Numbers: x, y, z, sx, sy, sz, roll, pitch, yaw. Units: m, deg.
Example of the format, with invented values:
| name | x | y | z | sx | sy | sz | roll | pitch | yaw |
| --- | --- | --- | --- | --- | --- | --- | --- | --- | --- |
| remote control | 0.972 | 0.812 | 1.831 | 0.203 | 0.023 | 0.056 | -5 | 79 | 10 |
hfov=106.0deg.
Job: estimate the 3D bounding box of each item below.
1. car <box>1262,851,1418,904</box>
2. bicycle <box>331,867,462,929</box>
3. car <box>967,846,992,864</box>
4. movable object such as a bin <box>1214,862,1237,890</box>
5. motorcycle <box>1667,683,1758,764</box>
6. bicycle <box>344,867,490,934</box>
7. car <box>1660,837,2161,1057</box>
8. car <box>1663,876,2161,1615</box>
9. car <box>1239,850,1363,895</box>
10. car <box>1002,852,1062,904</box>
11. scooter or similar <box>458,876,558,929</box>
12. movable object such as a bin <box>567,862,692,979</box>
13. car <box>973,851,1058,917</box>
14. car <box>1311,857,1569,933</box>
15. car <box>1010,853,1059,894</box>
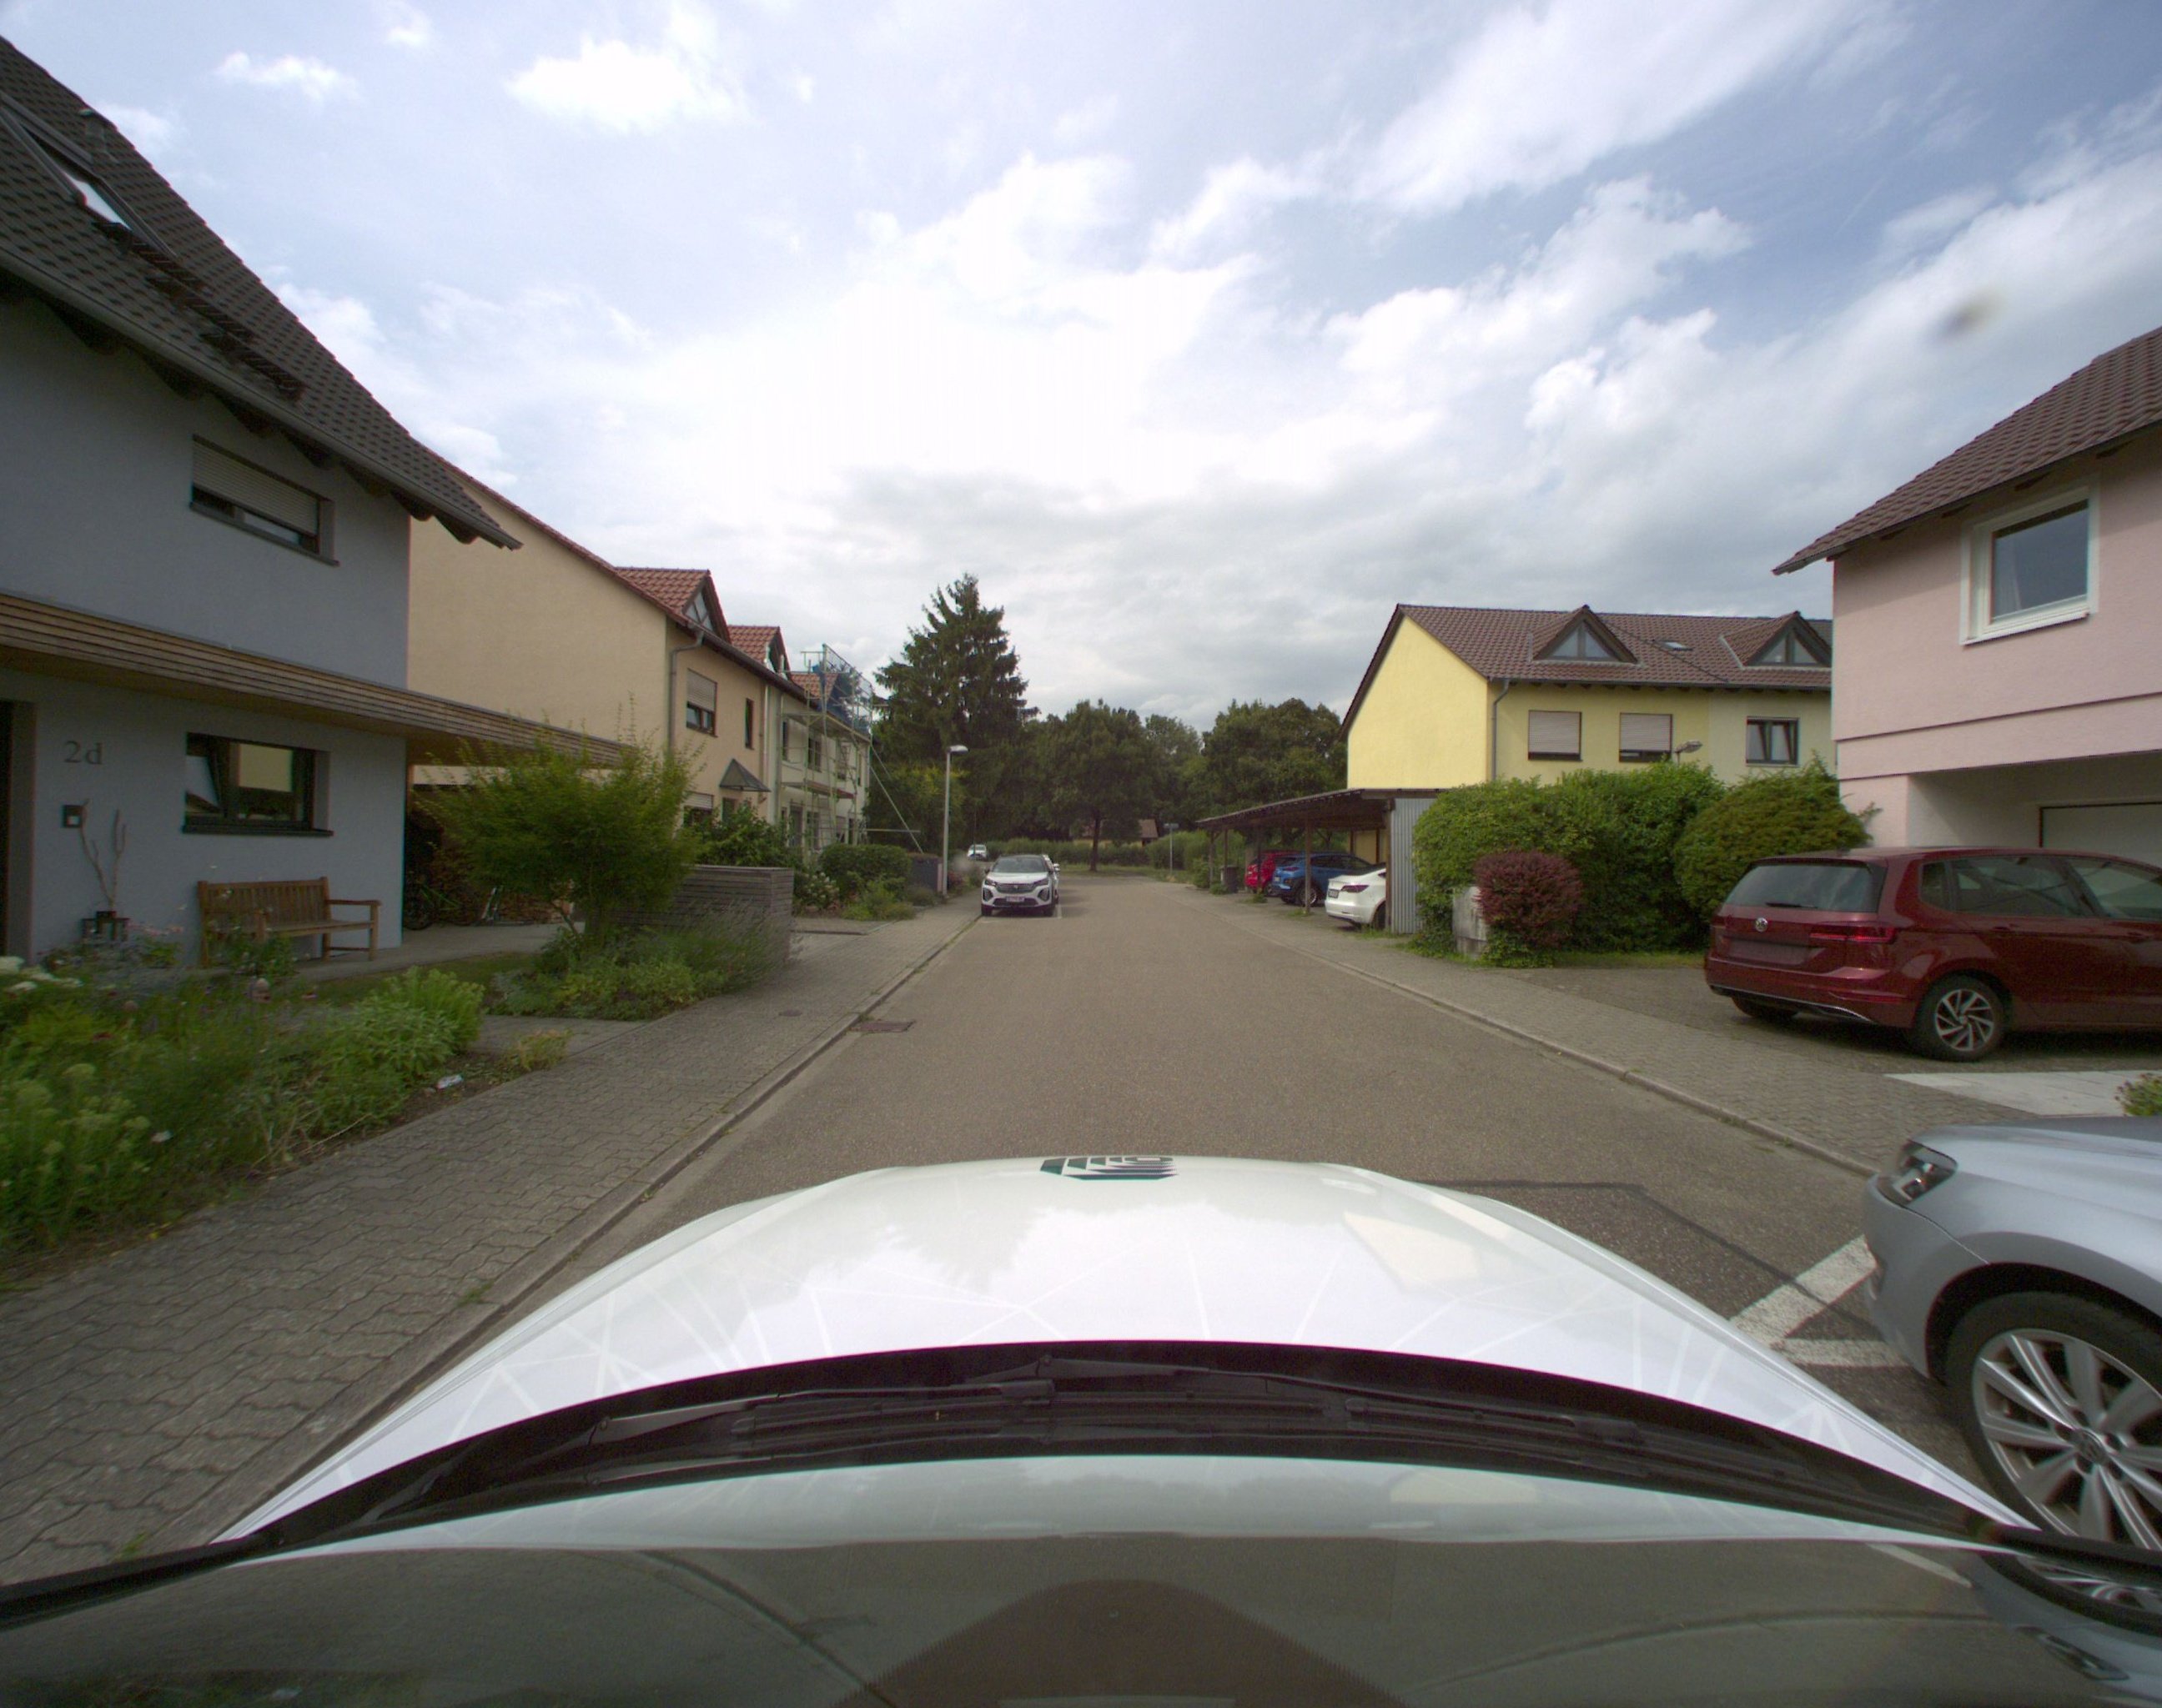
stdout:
| name | x | y | z | sx | sy | sz | roll | pitch | yaw |
| --- | --- | --- | --- | --- | --- | --- | --- | --- | --- |
| car | 7.638 | 0.668 | 24.258 | 4.039 | 1.522 | 1.947 | 0 | 0 | -5 |
| bicycle | -10.759 | 0.678 | 12.805 | 1.920 | 0.952 | 0.357 | 0 | 0 | 7 |
| car | -9.693 | 0.049 | 77.942 | 1.932 | 1.660 | 4.338 | 1 | 0 | -1 |
| movable object such as a bin | 5.564 | 0.845 | 31.428 | 0.698 | 1.072 | 0.710 | 0 | 0 | -5 |
| motorcycle | 11.328 | -2.315 | 14.659 | 0.353 | 1.231 | 1.475 | 1 | 0 | -8 |
| bicycle | -9.892 | 0.680 | 12.151 | 1.922 | 0.952 | 0.357 | 1 | 0 | 3 |
| car | 7.631 | 0.657 | 6.811 | 4.258 | 1.560 | 1.933 | 0 | 0 | -2 |
| car | 3.126 | 0.814 | 0.833 | 1.861 | 1.417 | 4.247 | 1 | 0 | -4 |
| car | 7.820 | 0.641 | 29.186 | 3.950 | 1.540 | 1.836 | 0 | 0 | -5 |
| car | -1.551 | 0.720 | 26.964 | 1.805 | 1.562 | 4.844 | 0 | 0 | -2 |
| scooter or similar | -9.194 | 0.775 | 13.080 | 1.299 | 0.797 | 0.363 | -1 | 0 | -2 |
| movable object such as a bin | -5.347 | 0.753 | 9.724 | 0.947 | 1.312 | 1.000 | 0 | 0 | -3 |
| car | -1.616 | 0.691 | 21.563 | 1.928 | 1.556 | 4.632 | 0 | 0 | -1 |
| car | 7.227 | 0.790 | 16.702 | 4.441 | 1.433 | 2.025 | 0 | 0 | -4 |
| car | -1.790 | 0.714 | 32.415 | 1.786 | 1.531 | 4.138 | 0 | 0 | -1 |
